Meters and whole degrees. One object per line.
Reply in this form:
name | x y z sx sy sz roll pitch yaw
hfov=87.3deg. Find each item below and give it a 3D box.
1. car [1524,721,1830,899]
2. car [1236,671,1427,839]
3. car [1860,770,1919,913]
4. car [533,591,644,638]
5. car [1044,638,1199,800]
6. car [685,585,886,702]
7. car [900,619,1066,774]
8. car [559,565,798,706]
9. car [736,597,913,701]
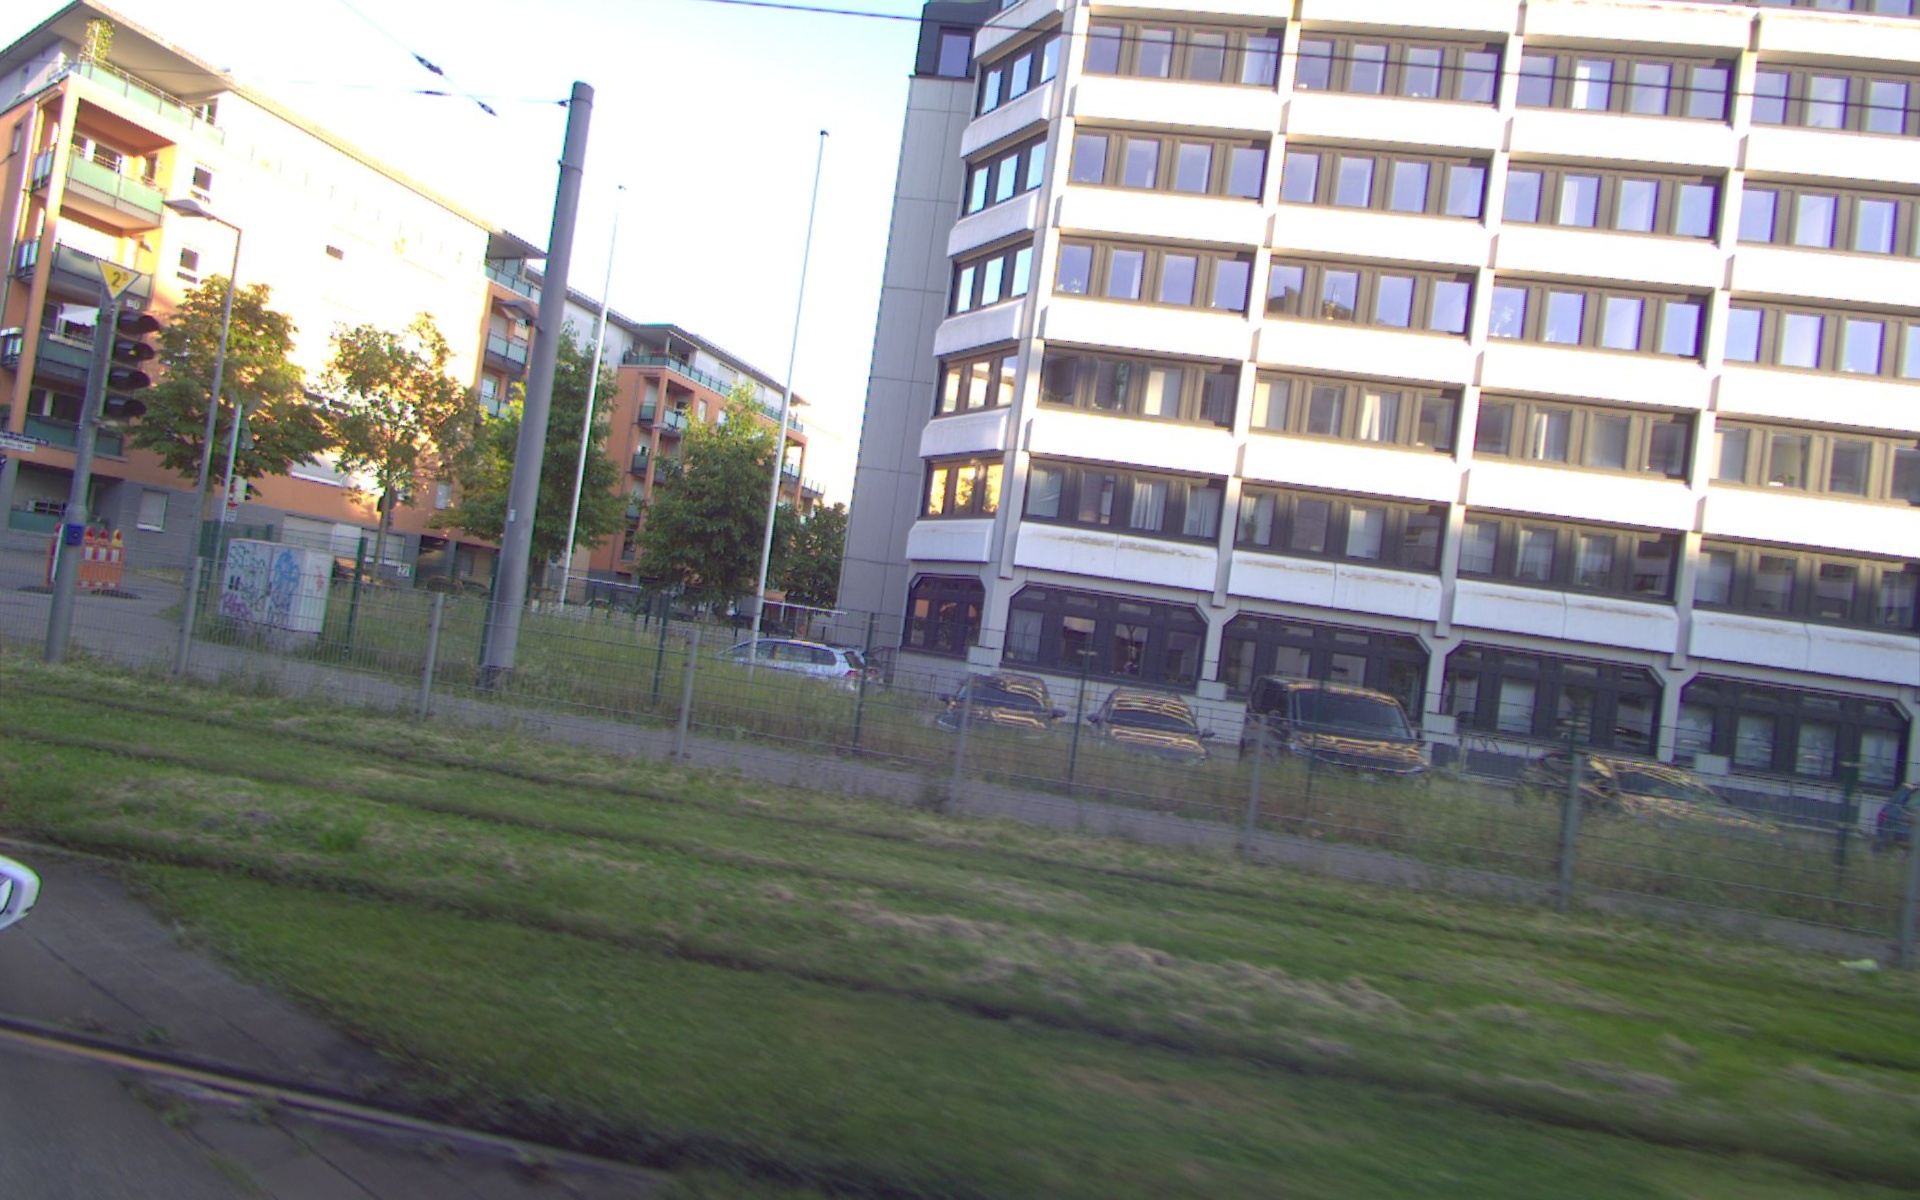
car | 10.135 2.869 14.671 1.962 1.769 4.008 8 -3 11
car | 5.710 2.314 16.023 1.962 2.035 4.008 8 -3 11
car | 15.252 3.720 14.043 1.962 2.035 4.007 8 -3 9
car | -18.027 0.712 48.830 4.726 1.612 2.002 7 -2 21
car | 2.660 1.858 16.447 1.962 2.035 4.008 8 -3 11
car | -3.973 0.963 22.768 3.934 2.036 1.998 6 -3 32
car | 0.540 1.583 16.931 1.962 2.035 4.008 8 -3 11
car | -5.320 0.651 18.949 3.934 2.036 1.998 6 -3 32
car | -3.489 1.250 25.831 3.934 2.036 1.998 6 -3 32
